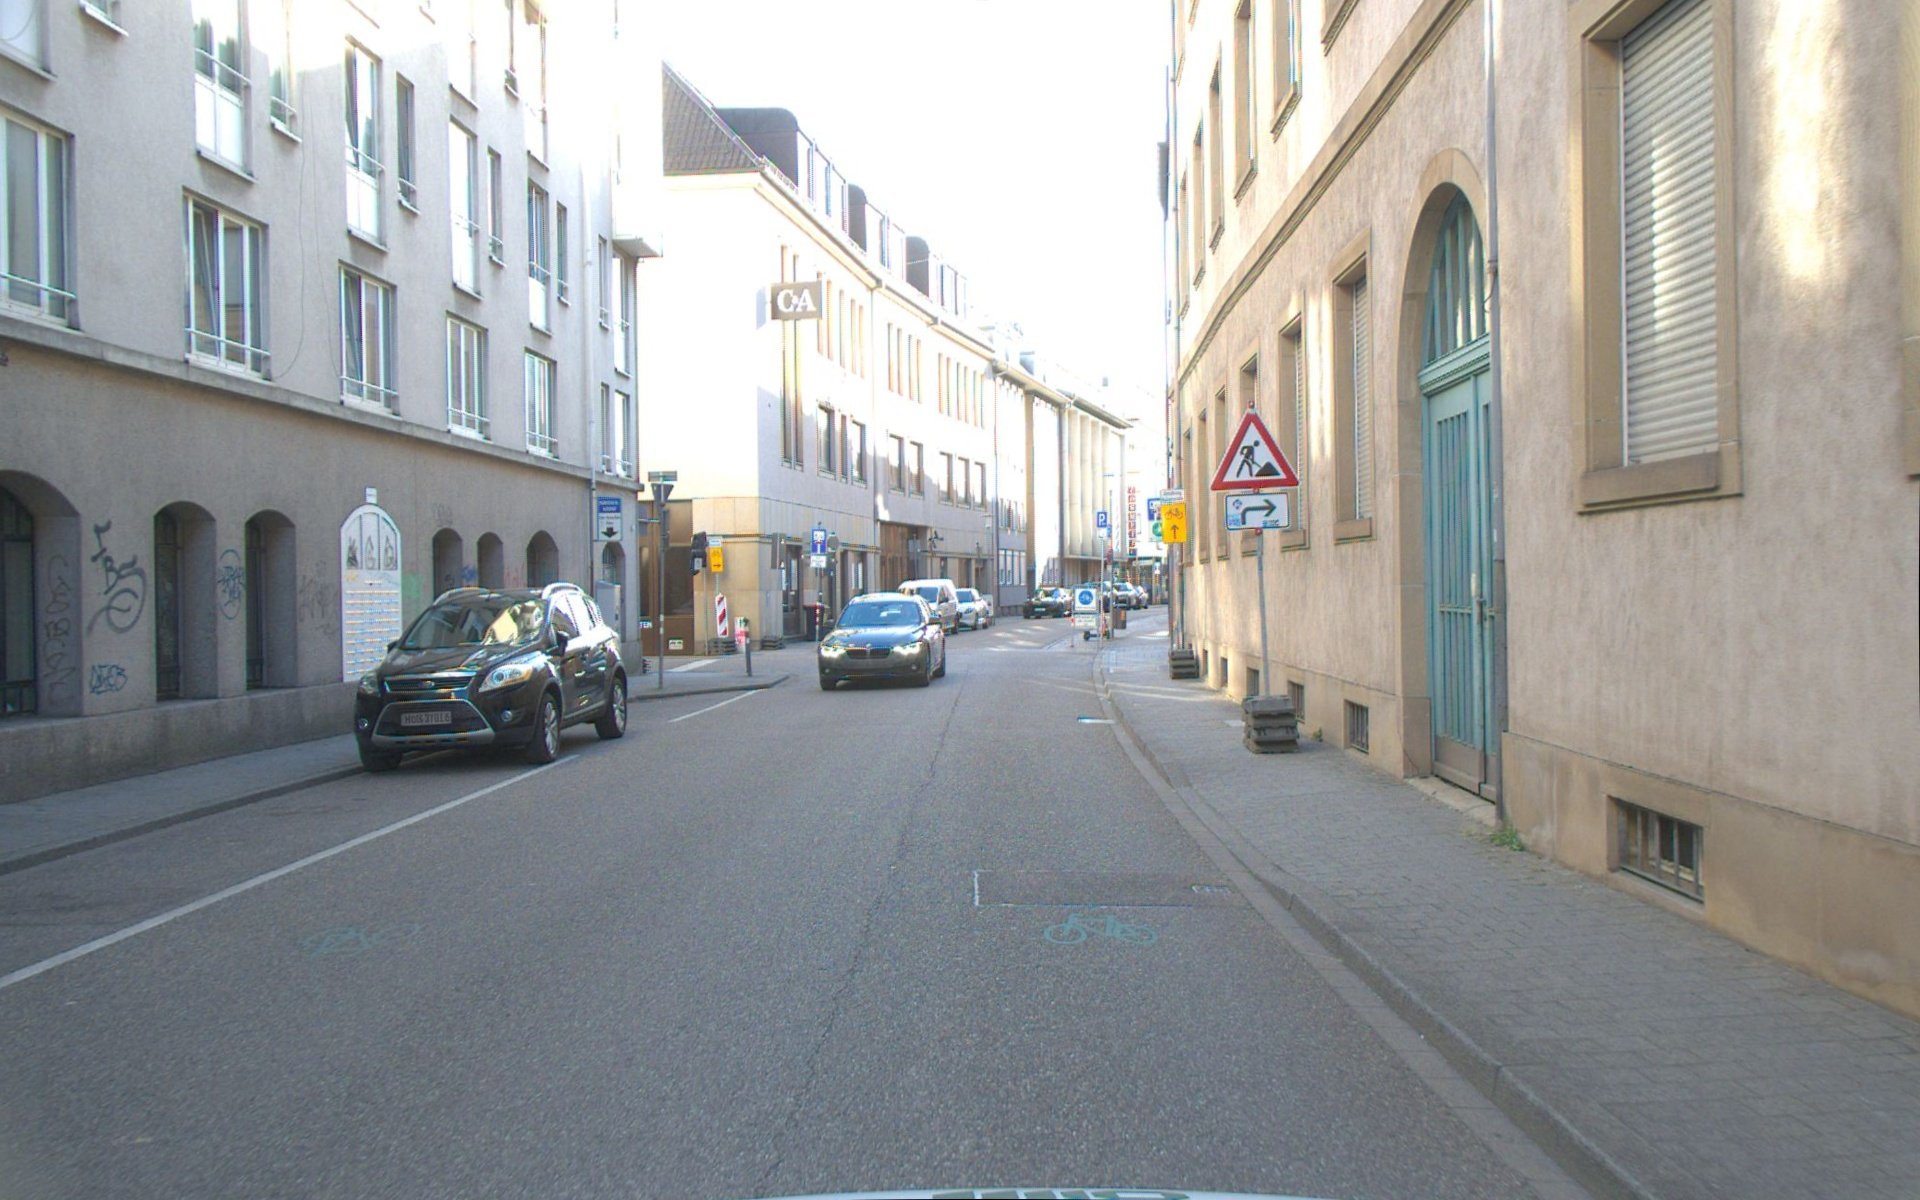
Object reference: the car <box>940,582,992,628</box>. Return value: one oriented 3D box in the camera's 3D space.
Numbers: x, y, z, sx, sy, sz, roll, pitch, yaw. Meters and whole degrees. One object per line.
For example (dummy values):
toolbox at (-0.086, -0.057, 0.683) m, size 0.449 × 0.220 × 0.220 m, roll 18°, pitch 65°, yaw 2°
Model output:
car at (0.234, 0.151, 59.427) m, size 1.244 × 1.533 × 3.405 m, roll -2°, pitch 0°, yaw 10°

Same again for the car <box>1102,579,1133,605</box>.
car at (9.434, -0.486, 98.834) m, size 1.310 × 1.520 × 3.513 m, roll -1°, pitch 1°, yaw 14°

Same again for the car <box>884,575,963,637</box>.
car at (-1.127, 0.153, 53.316) m, size 1.635 × 1.850 × 4.556 m, roll -3°, pitch 0°, yaw 9°

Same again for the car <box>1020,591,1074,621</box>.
car at (4.229, 0.268, 79.595) m, size 1.841 × 1.355 × 4.104 m, roll -1°, pitch 1°, yaw 14°

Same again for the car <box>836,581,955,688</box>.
car at (-1.146, 0.526, 27.657) m, size 1.682 × 1.605 × 4.185 m, roll -1°, pitch 0°, yaw -6°

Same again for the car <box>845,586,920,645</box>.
car at (-2.191, 0.422, 47.508) m, size 1.635 × 1.533 × 3.796 m, roll -3°, pitch 0°, yaw 4°

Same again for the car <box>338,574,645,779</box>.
car at (-4.632, 0.666, 17.030) m, size 1.704 × 1.740 × 4.192 m, roll -4°, pitch 0°, yaw 3°

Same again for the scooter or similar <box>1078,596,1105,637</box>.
scooter or similar at (3.848, 0.481, 48.485) m, size 0.754 × 1.156 × 0.269 m, roll 1°, pitch 0°, yaw 6°

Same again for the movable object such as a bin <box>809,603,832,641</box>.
movable object such as a bin at (-4.118, 0.652, 48.795) m, size 0.596 × 1.079 × 0.713 m, roll 1°, pitch 0°, yaw 1°

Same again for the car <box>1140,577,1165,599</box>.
car at (13.502, -0.847, 115.970) m, size 1.310 × 1.520 × 3.350 m, roll -1°, pitch 1°, yaw 14°
